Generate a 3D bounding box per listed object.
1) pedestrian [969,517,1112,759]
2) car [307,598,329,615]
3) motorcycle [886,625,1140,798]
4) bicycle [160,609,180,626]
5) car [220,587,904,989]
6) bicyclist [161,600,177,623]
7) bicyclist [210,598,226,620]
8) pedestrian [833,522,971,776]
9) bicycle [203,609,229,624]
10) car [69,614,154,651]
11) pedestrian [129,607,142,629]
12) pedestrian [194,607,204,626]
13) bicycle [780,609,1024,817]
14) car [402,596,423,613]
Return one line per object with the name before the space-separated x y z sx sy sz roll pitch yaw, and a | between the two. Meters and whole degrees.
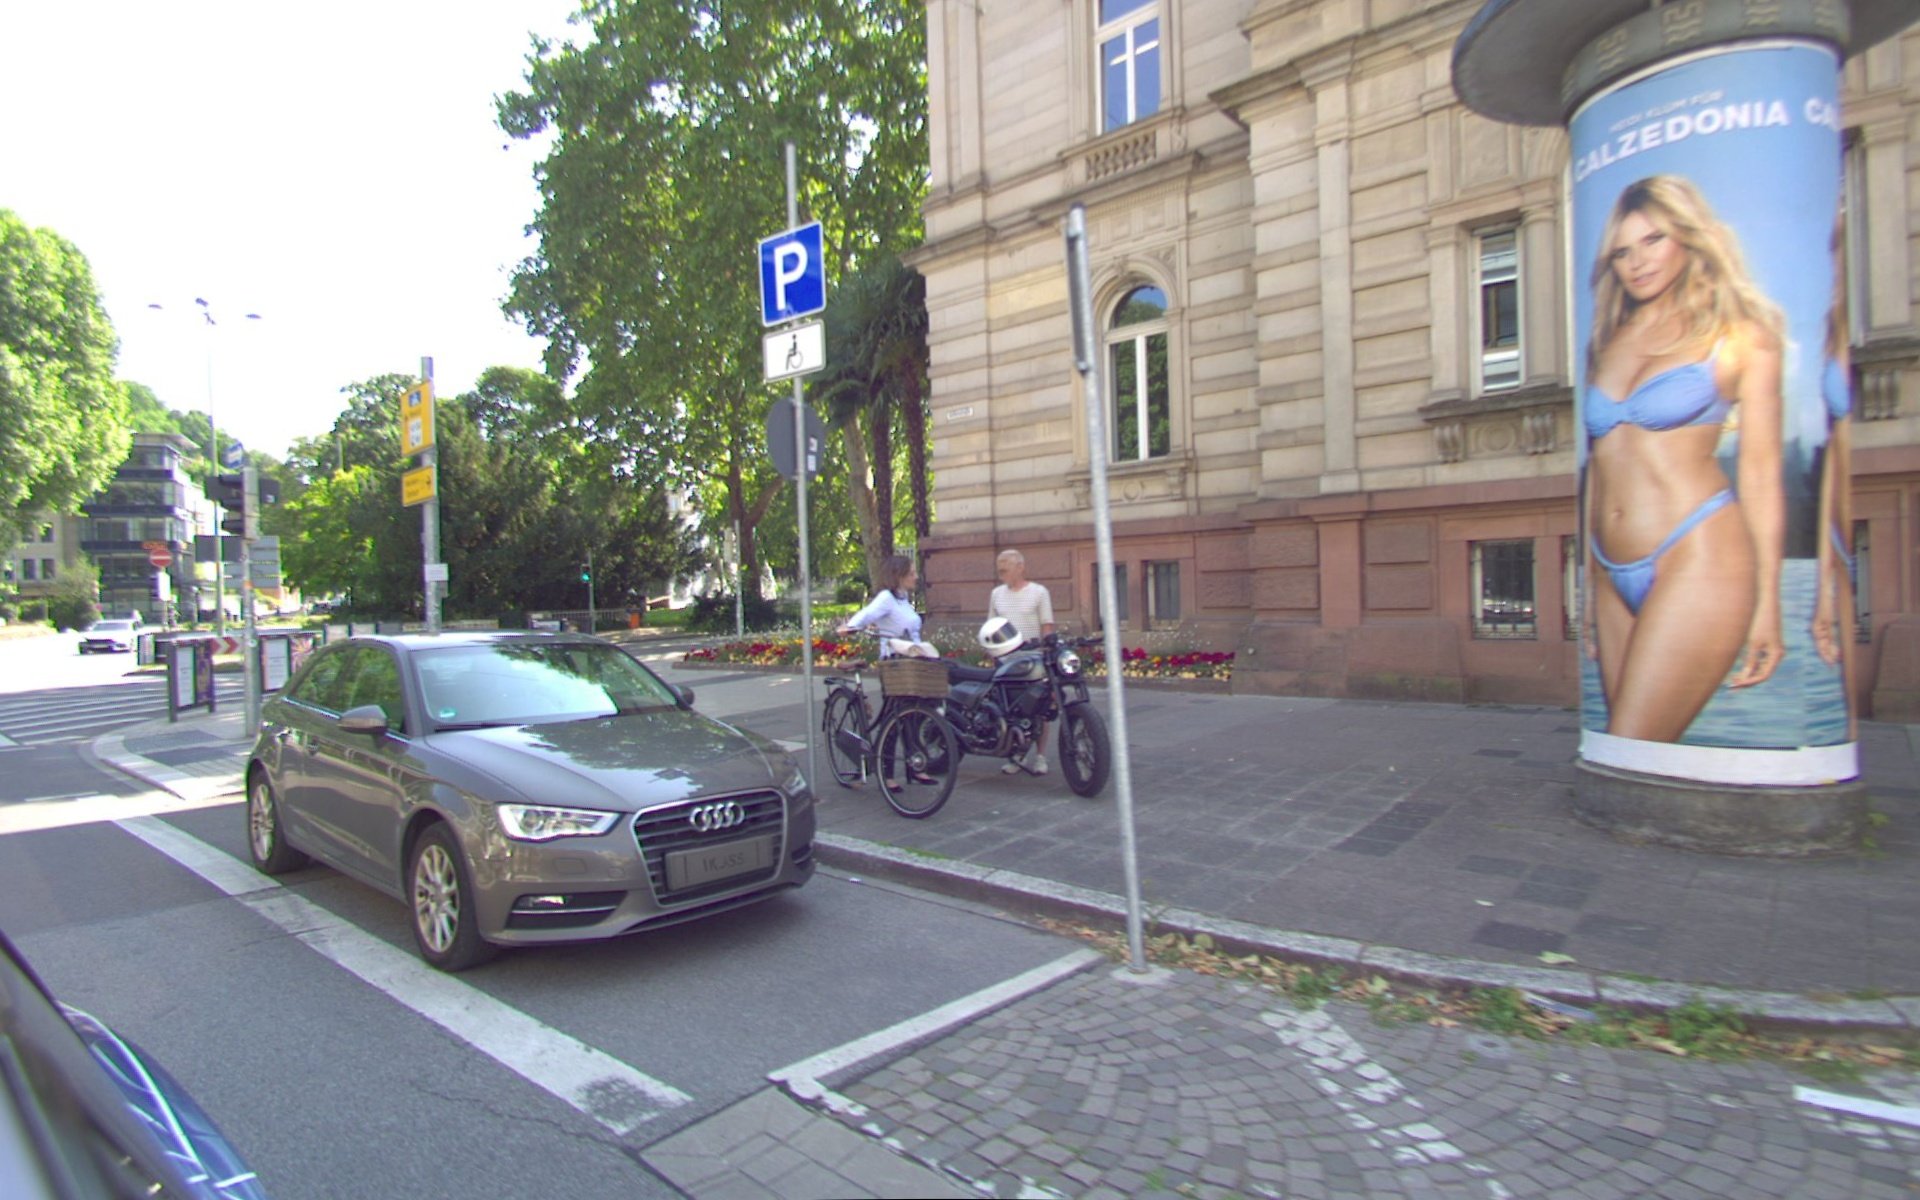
pedestrian | 0.588 0.254 7.543 0.542 1.677 0.938 -2 1 -39
car | -72.143 0.706 113.787 1.820 1.801 4.013 -2 0 -28
motorcycle | 0.294 0.712 7.230 0.448 1.005 2.165 -4 2 -38
bicycle | -57.195 1.259 73.282 0.747 1.129 2.008 -1 1 -28
car | -2.483 0.702 5.661 4.250 1.365 1.915 -2 -1 43
bicyclist | -57.161 0.802 73.151 0.753 1.648 0.946 -1 1 -28
bicyclist | -58.317 0.708 79.561 0.700 1.625 0.733 -2 1 -11
pedestrian | -0.417 0.321 7.264 0.691 1.708 0.686 0 1 44
bicycle | -58.404 1.265 79.481 0.700 1.062 2.212 -2 1 -11
car | -37.405 1.397 44.719 1.909 1.440 4.564 -2 1 -28
pedestrian | -64.134 1.378 78.727 0.699 1.685 0.536 -2 1 -31
pedestrian | -72.732 1.564 96.740 0.592 1.717 0.606 -3 1 -23
bicycle | -0.484 0.664 6.845 0.424 1.128 2.248 -4 3 -37
car | -59.338 0.464 109.679 1.820 1.674 4.012 -2 1 -31
